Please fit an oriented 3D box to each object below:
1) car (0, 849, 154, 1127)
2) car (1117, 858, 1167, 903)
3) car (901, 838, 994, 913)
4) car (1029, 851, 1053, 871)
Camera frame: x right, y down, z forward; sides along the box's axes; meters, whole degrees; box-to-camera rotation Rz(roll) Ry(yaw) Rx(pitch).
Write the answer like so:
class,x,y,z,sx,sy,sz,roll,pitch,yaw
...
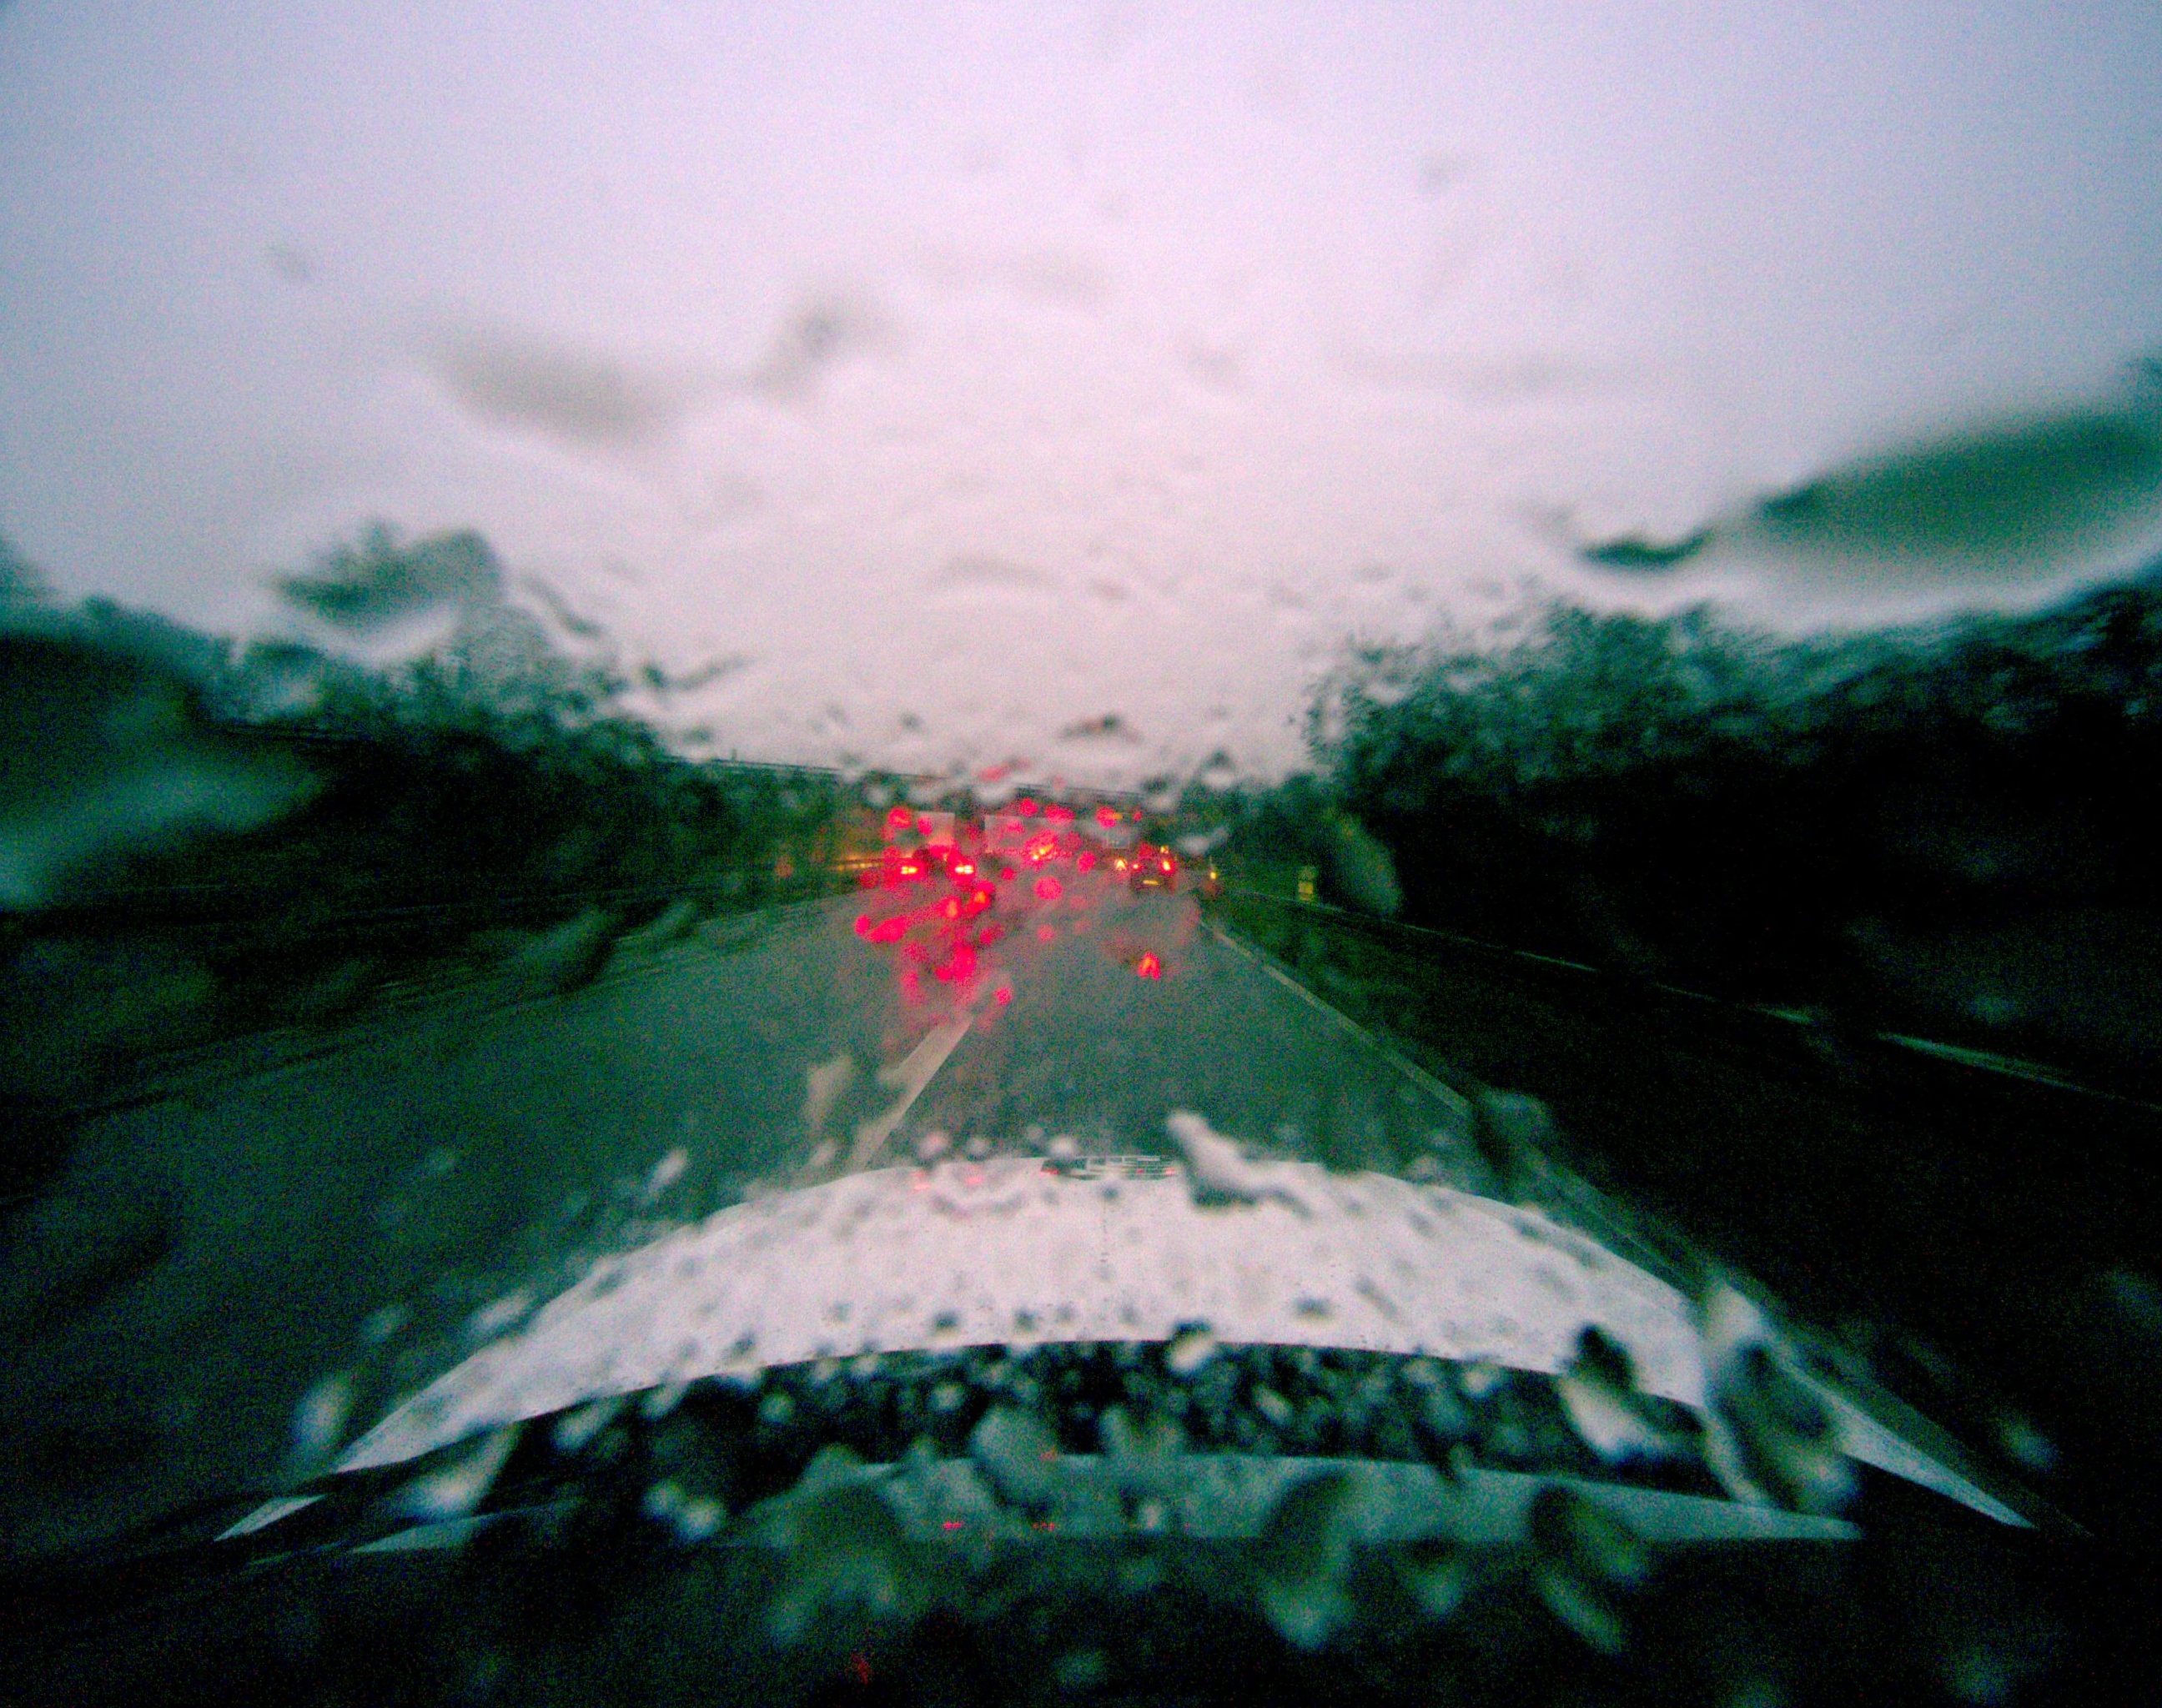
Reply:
class,x,y,z,sx,sy,sz,roll,pitch,yaw
car,-6.698,0.800,2.792,1.791,1.467,4.415,-4,1,2
car,2.482,1.008,32.637,1.724,1.429,3.771,-7,1,5
car,-3.269,0.474,20.600,1.990,1.664,3.993,-1,0,-5
car,-3.510,0.591,72.101,1.871,1.617,3.876,1,2,1
